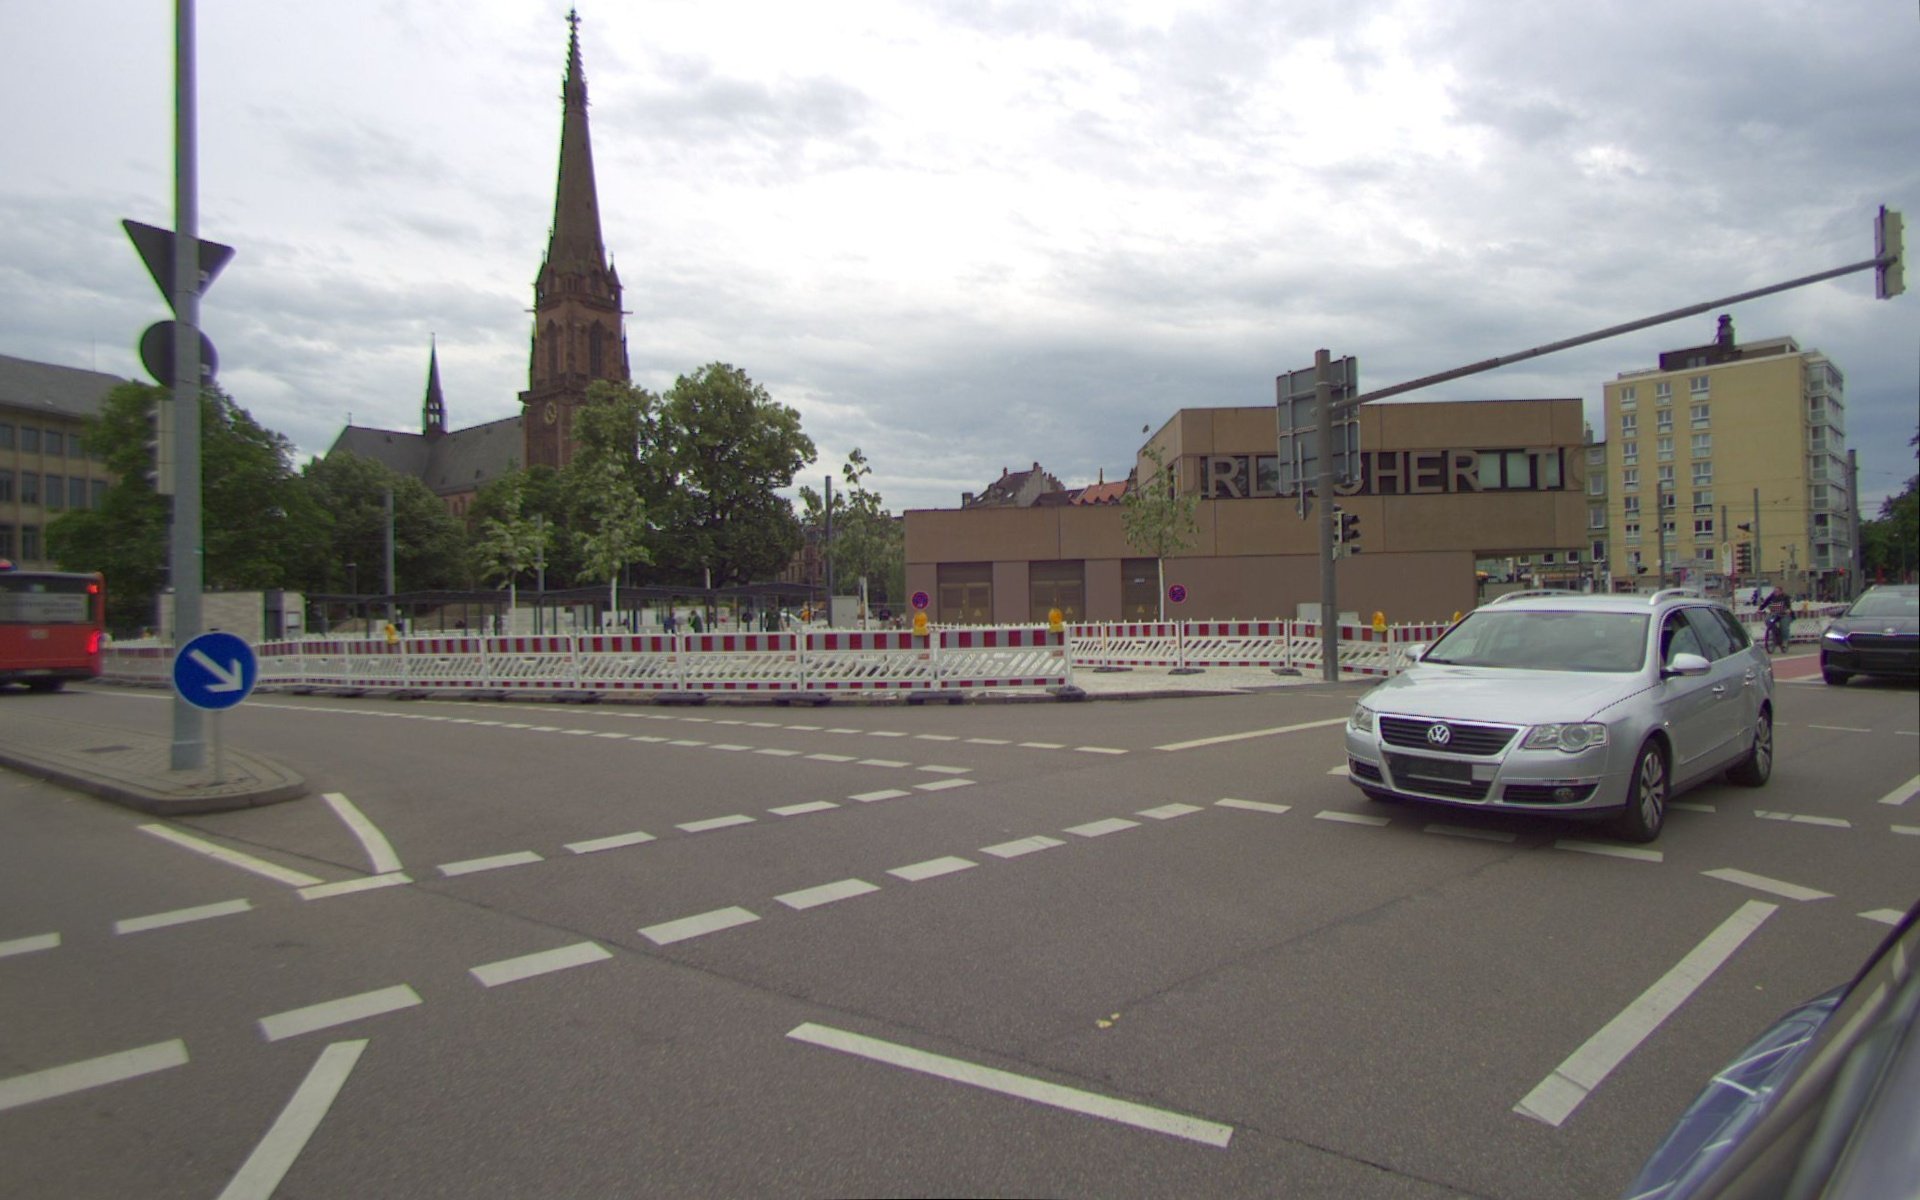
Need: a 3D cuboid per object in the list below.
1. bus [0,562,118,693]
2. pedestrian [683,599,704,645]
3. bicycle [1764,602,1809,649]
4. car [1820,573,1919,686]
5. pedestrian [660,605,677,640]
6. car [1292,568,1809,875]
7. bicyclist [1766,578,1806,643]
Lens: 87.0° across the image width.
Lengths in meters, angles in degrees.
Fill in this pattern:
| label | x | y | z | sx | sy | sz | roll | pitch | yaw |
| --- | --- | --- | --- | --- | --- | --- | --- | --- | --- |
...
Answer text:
| label | x | y | z | sx | sy | sz | roll | pitch | yaw |
| --- | --- | --- | --- | --- | --- | --- | --- | --- | --- |
| bus | -25.972 | 0.799 | 26.772 | 12.019 | 2.945 | 2.900 | -2 | -1 | 36 |
| pedestrian | -9.817 | 0.807 | 37.304 | 0.612 | 1.684 | 0.499 | 0 | 0 | -34 |
| bicycle | 21.338 | 0.644 | 26.120 | 1.837 | 1.144 | 0.693 | -1 | 0 | -44 |
| car | 15.850 | 0.399 | 16.493 | 4.409 | 1.645 | 1.912 | -2 | 0 | -38 |
| pedestrian | -10.628 | 0.817 | 36.922 | 0.571 | 1.239 | 0.481 | 0 | 0 | -13 |
| car | 4.454 | 0.581 | 7.319 | 4.447 | 1.570 | 1.828 | -1 | 1 | -40 |
| bicyclist | 21.300 | 0.257 | 26.105 | 0.869 | 1.656 | 0.693 | 0 | 0 | -44 |
